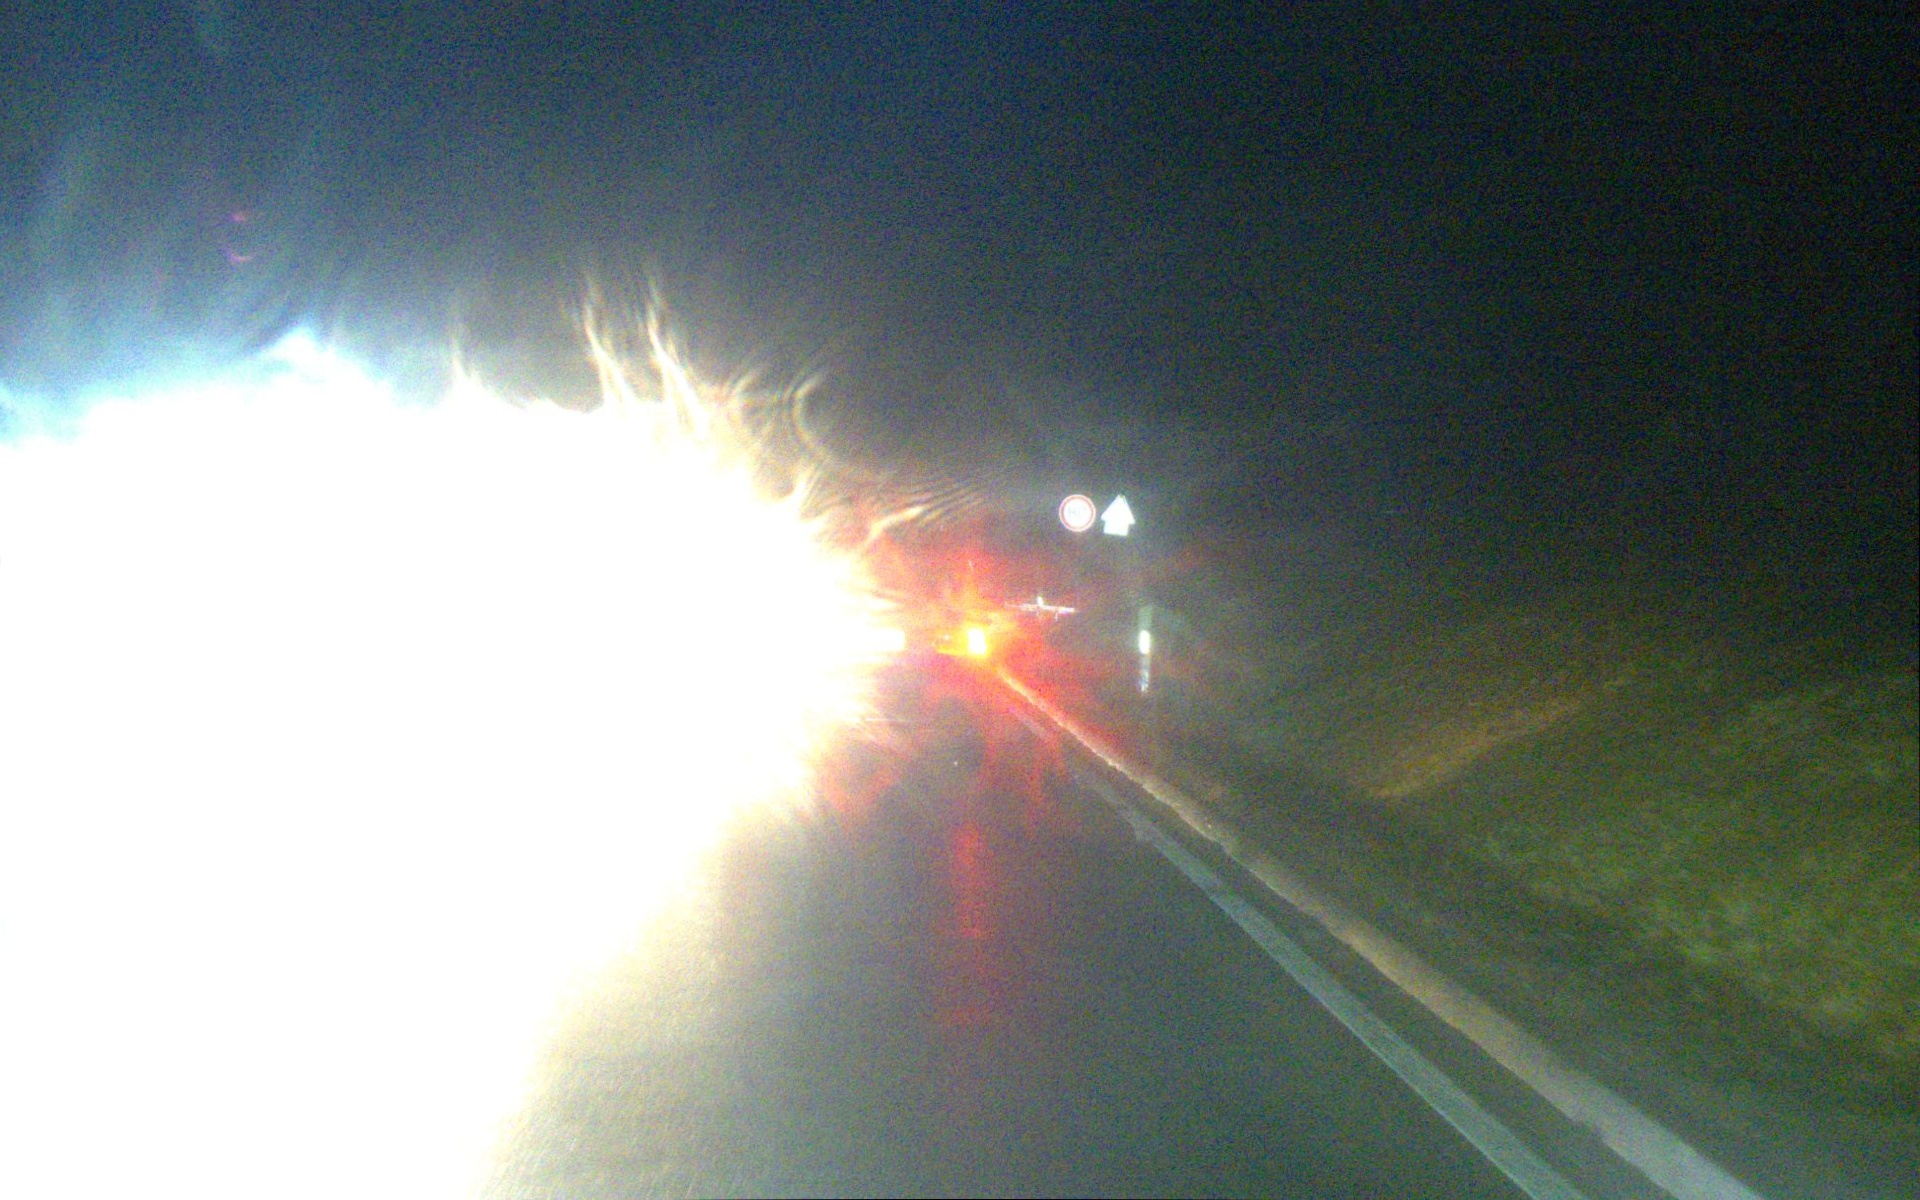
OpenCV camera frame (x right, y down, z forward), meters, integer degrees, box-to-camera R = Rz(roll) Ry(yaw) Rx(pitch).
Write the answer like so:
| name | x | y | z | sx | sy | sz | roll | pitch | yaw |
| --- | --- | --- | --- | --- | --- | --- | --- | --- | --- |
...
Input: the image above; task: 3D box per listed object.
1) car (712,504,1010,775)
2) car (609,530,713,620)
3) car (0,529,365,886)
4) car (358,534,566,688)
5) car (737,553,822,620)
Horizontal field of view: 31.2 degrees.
| name | x | y | z | sx | sy | sz | roll | pitch | yaw |
| --- | --- | --- | --- | --- | --- | --- | --- | --- | --- |
| car | -0.692 | 0.246 | 25.177 | 1.993 | 1.801 | 3.917 | 1 | 1 | -1 |
| car | -5.429 | -0.477 | 62.641 | 1.662 | 1.555 | 3.561 | 1 | 1 | -2 |
| car | -4.175 | 0.452 | 17.281 | 1.802 | 1.566 | 4.191 | 1 | 1 | -2 |
| car | -4.856 | 0.082 | 33.910 | 1.598 | 1.419 | 3.552 | 1 | 1 | -1 |
| car | -4.215 | -0.338 | 80.900 | 1.755 | 1.401 | 4.488 | 3 | 1 | -1 |
